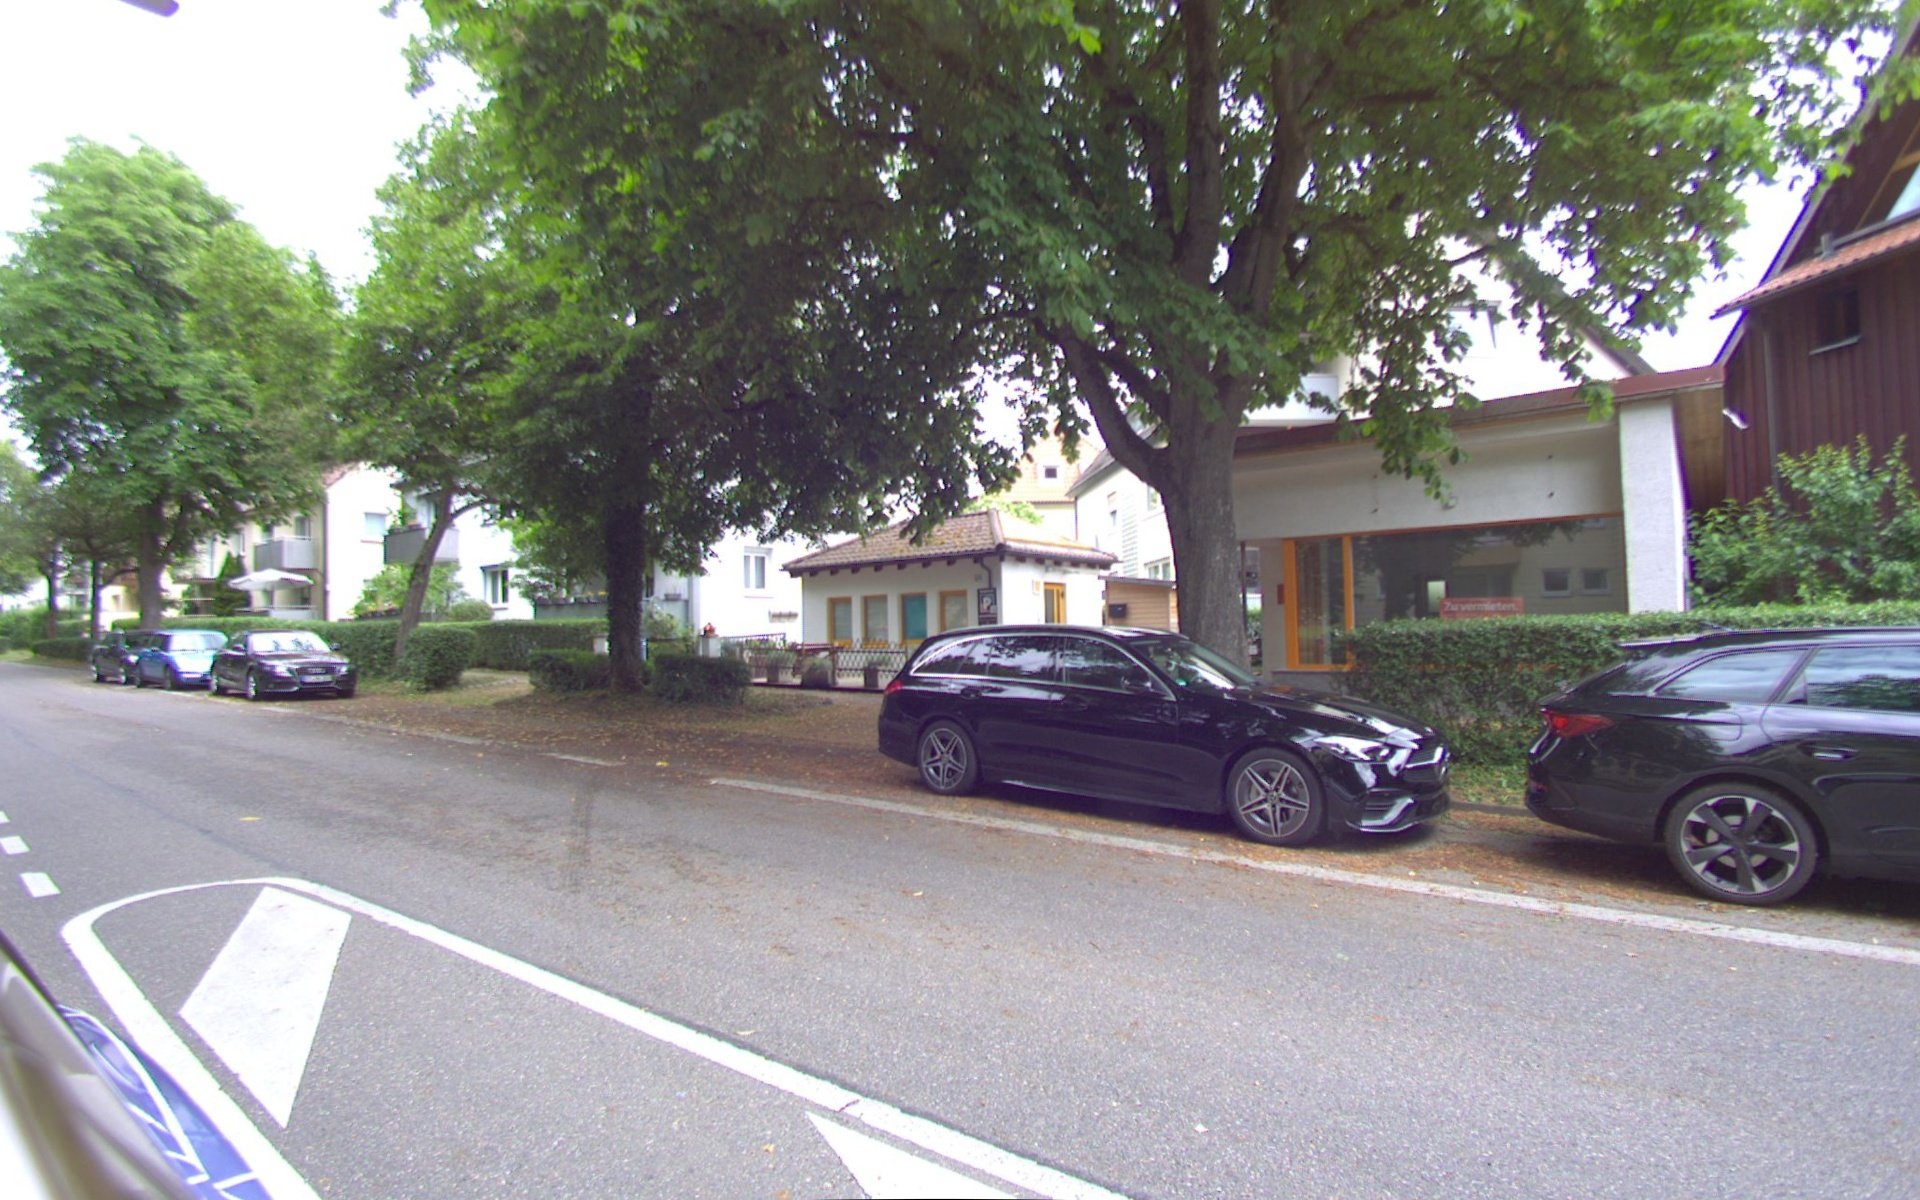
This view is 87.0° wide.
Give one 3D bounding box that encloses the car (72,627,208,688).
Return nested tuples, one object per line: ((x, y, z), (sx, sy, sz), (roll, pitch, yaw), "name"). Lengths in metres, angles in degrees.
((-22.609, 1.555, 27.849), (4.558, 1.545, 1.866), (-2, -3, 37), "car")

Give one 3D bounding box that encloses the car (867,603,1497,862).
((1.551, 0.863, 8.197), (4.612, 1.511, 1.973), (-2, -3, 41), "car")

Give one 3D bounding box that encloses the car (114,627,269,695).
((-18.921, 1.457, 24.856), (4.558, 1.512, 1.866), (-2, -3, 37), "car")

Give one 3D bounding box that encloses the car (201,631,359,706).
((-14.226, 1.372, 21.090), (4.169, 1.414, 1.713), (-2, -3, 41), "car")

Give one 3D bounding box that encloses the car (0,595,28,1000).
((-5.926, 0.774, 4.593), (4.612, 1.511, 1.973), (-2, -3, 41), "car")

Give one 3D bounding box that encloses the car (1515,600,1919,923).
((5.446, 0.756, 4.985), (4.536, 1.497, 1.674), (-2, -3, 38), "car")
